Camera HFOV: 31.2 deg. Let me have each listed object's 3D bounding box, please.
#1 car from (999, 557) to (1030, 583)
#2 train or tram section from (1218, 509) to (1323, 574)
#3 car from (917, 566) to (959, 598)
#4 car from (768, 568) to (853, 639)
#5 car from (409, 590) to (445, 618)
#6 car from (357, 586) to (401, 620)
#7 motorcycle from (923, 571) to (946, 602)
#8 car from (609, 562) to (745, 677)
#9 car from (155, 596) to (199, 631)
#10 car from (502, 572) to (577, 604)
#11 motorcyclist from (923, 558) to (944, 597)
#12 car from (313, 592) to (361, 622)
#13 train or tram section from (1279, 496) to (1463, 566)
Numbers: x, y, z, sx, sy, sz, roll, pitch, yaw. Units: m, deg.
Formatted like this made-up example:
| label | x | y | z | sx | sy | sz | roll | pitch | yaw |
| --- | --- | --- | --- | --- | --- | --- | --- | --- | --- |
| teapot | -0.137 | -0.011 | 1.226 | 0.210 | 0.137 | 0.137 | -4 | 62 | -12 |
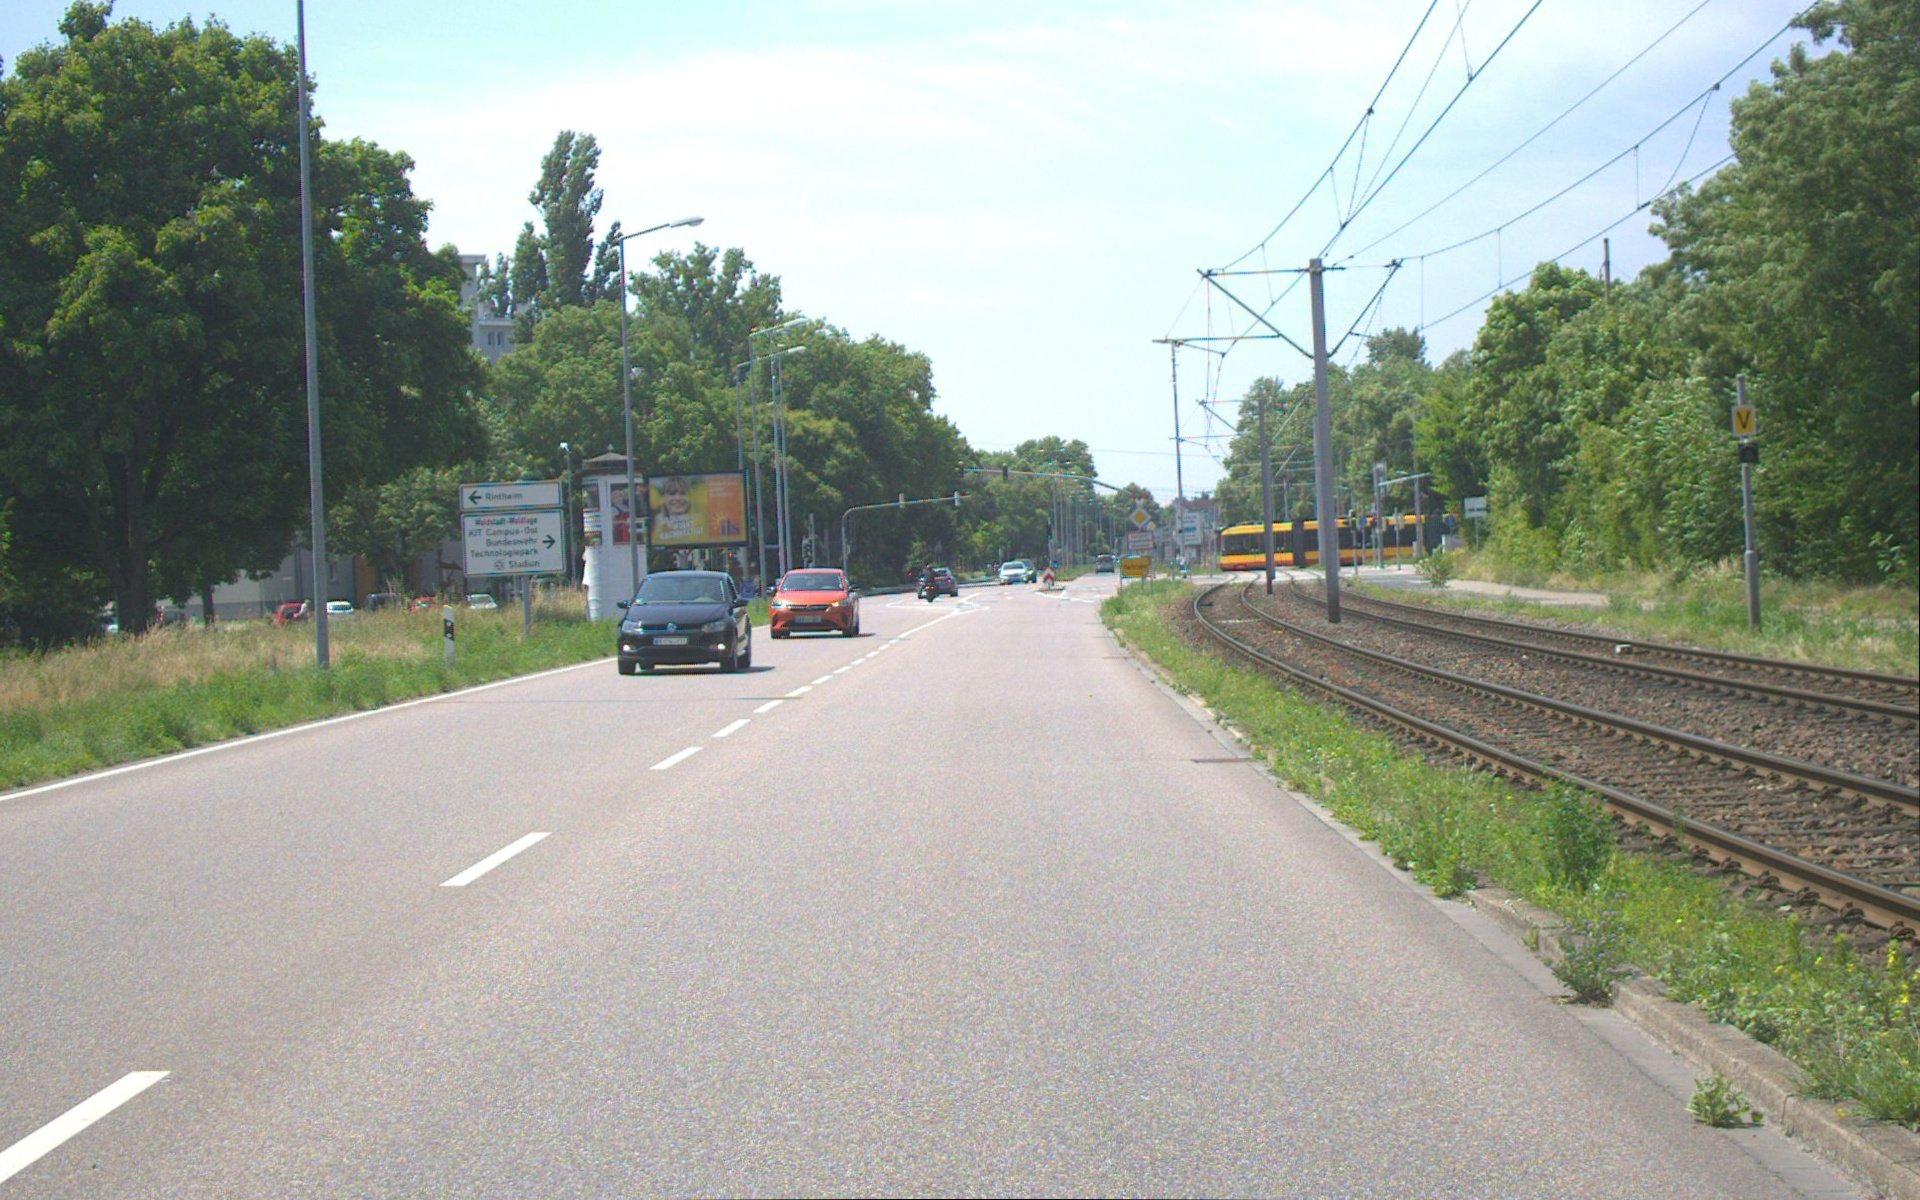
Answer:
| label | x | y | z | sx | sy | sz | roll | pitch | yaw |
| --- | --- | --- | --- | --- | --- | --- | --- | --- | --- |
| car | 3.556 | -1.952 | 223.212 | 1.784 | 1.623 | 3.865 | -3 | 1 | 3 |
| train or tram section | 22.398 | -4.178 | 248.945 | 2.913 | 3.906 | 14.045 | -1 | -2 | -14 |
| car | -1.035 | -0.885 | 165.514 | 1.906 | 1.494 | 4.630 | -1 | 1 | 1 |
| car | -3.123 | 0.054 | 72.403 | 1.679 | 1.394 | 4.000 | -1 | 1 | -1 |
| car | -29.575 | 0.206 | 190.773 | 1.617 | 1.459 | 4.001 | -2 | 1 | -13 |
| car | -32.169 | 0.153 | 190.252 | 1.704 | 1.794 | 4.001 | -2 | 1 | -19 |
| motorcycle | -1.061 | -0.562 | 144.207 | 0.847 | 1.251 | 2.449 | -2 | 1 | 2 |
| car | -4.041 | 0.248 | 49.565 | 1.684 | 1.564 | 3.968 | -1 | 1 | -1 |
| car | -42.668 | 0.724 | 187.235 | 1.846 | 1.705 | 4.001 | -2 | 2 | -19 |
| car | -26.589 | -0.759 | 217.417 | 1.790 | 1.762 | 4.538 | -2 | 1 | 43 |
| motorcyclist | -1.091 | -0.945 | 144.169 | 0.790 | 1.637 | 1.211 | -2 | 0 | 2 |
| car | -34.347 | 0.360 | 189.419 | 1.704 | 1.586 | 4.001 | -2 | 1 | -24 |
| train or tram section | 28.329 | -4.719 | 238.105 | 2.915 | 3.906 | 13.955 | 1 | -3 | -43 |
